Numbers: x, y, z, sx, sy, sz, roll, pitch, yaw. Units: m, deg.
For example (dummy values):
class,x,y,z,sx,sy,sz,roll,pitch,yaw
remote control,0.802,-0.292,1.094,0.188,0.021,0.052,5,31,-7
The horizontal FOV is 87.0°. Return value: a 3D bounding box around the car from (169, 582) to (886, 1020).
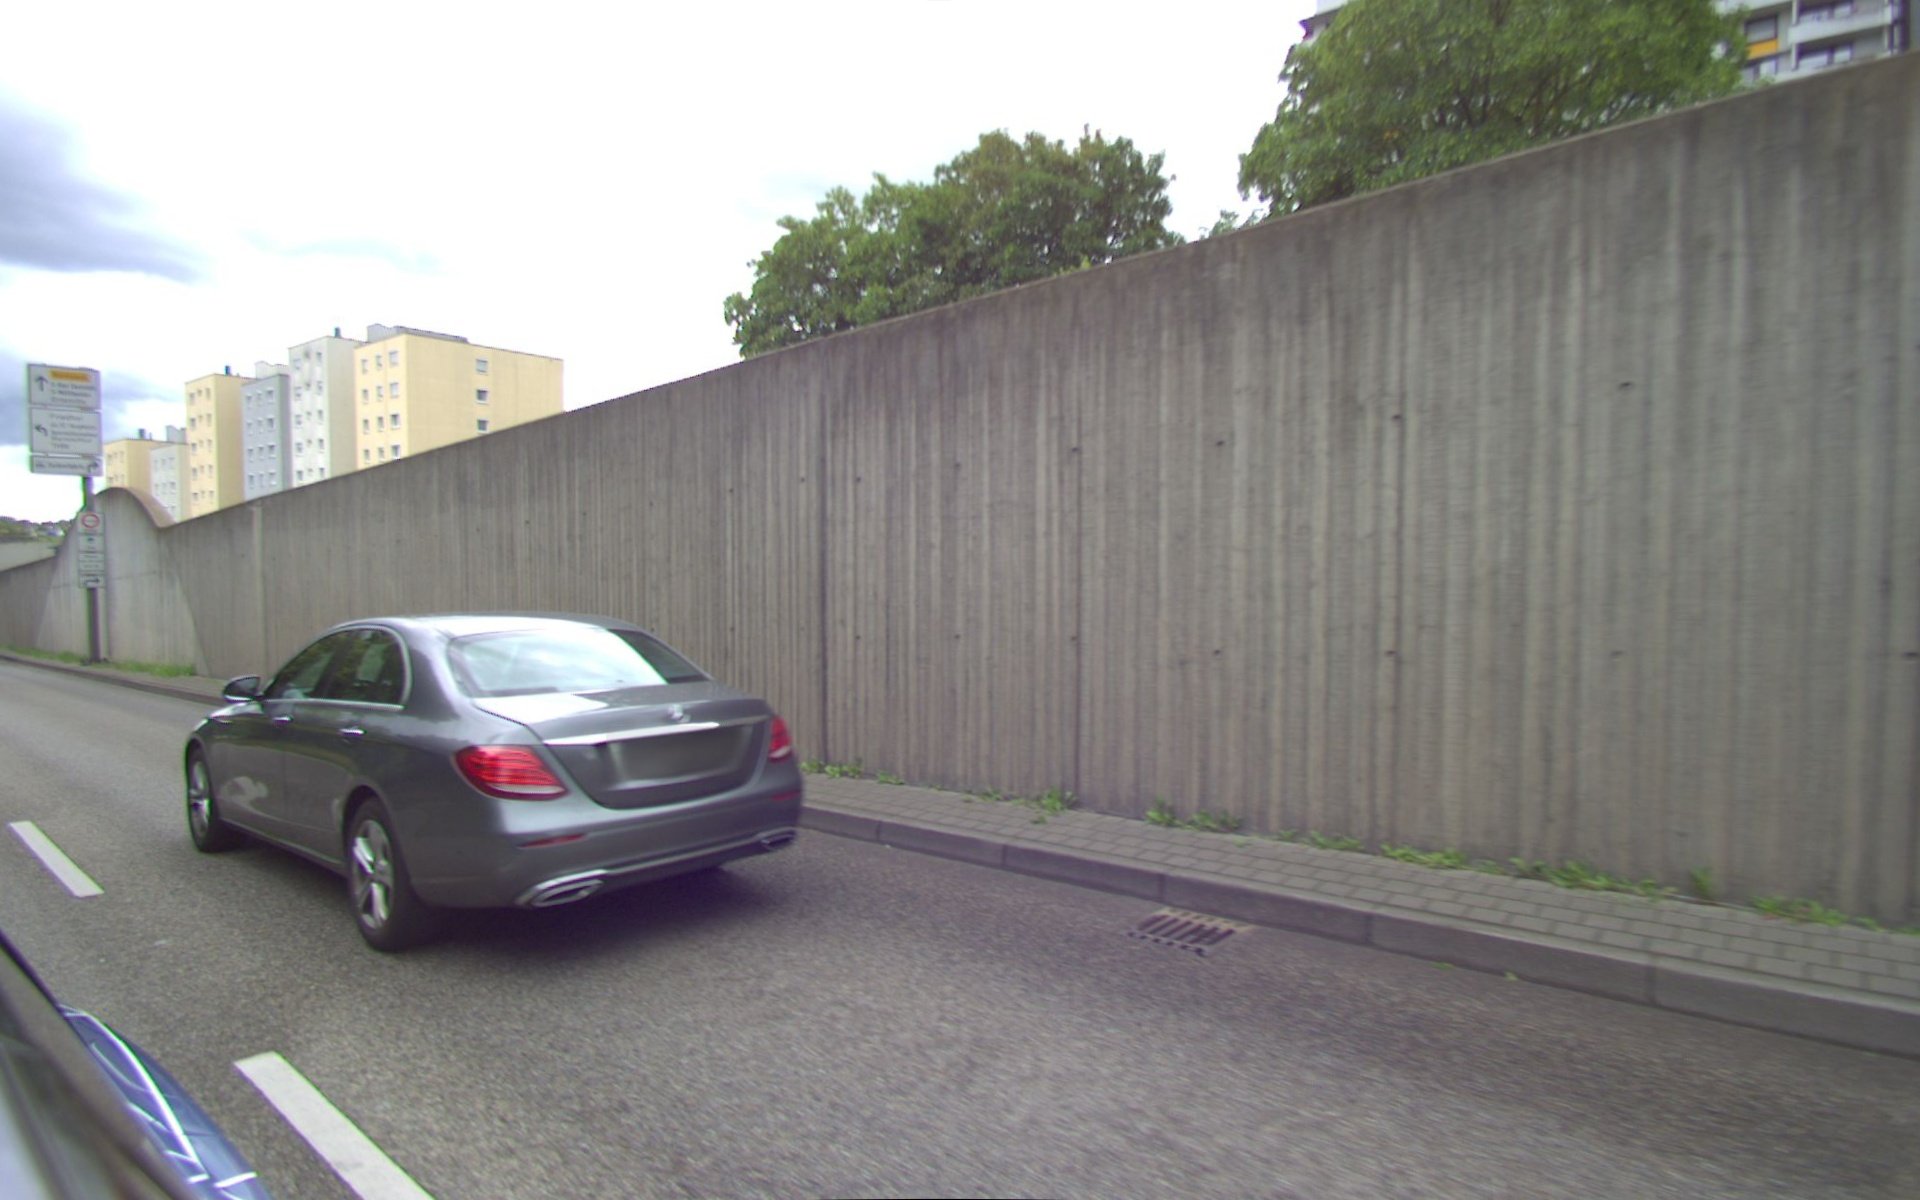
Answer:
class,x,y,z,sx,sy,sz,roll,pitch,yaw
car,-2.782,0.723,5.768,4.820,1.495,1.873,-1,-1,41
